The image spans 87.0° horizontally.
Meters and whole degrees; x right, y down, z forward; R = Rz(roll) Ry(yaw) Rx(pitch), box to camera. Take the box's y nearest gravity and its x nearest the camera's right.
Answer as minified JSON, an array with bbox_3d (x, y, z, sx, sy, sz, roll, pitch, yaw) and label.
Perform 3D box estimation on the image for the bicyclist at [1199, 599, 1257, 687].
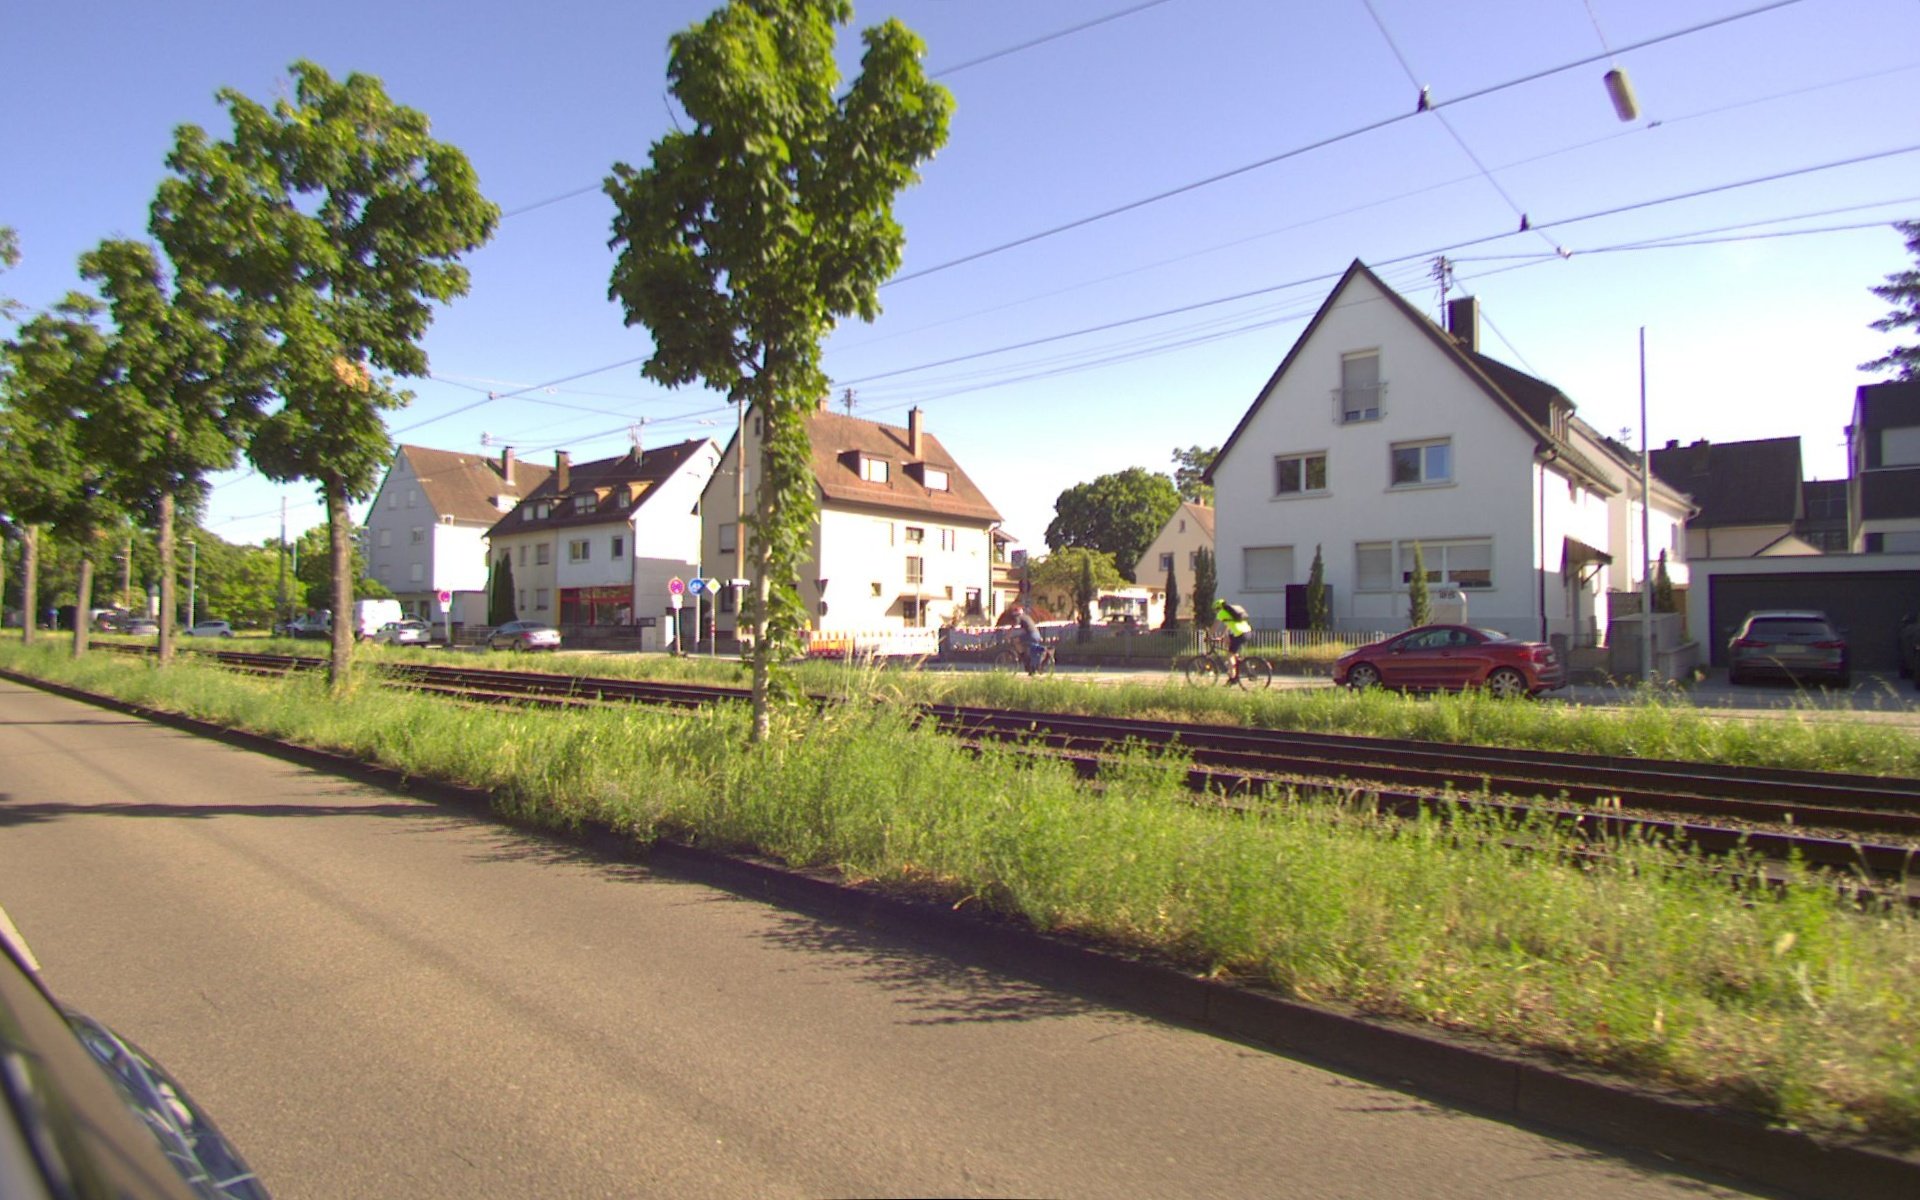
[{"bbox_3d":[5.222,0.829,19.746,0.881,1.665,0.681,-1,-2,41],"label":"bicyclist"}]

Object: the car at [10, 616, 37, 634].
[{"bbox_3d":[-136.530,3.624,147.519,6.795,2.600,2.202,-2,-1,41],"label":"car"}]

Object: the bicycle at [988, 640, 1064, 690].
[{"bbox_3d":[1.469,1.450,22.940,1.879,1.078,0.394,-1,-2,42],"label":"bicycle"}]

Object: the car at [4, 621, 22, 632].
[{"bbox_3d":[-145.770,4.022,155.702,4.282,1.575,1.748,-1,-1,43],"label":"car"}]

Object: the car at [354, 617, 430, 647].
[{"bbox_3d":[-38.581,2.156,68.819,1.992,1.967,4.108,-1,-1,30],"label":"car"}]

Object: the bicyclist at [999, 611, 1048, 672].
[{"bbox_3d":[1.428,0.924,22.910,0.881,1.347,0.681,-1,-2,41],"label":"bicyclist"}]

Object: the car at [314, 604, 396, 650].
[{"bbox_3d":[-34.284,1.466,57.245,6.671,2.478,1.973,-1,0,41],"label":"car"}]

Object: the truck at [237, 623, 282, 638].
[{"bbox_3d":[-97.707,4.235,141.175,2.069,1.883,4.907,-1,0,21],"label":"truck"}]

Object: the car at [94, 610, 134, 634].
[{"bbox_3d":[-87.422,2.285,104.555,6.462,2.394,2.160,-1,0,41],"label":"car"}]

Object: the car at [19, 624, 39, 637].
[{"bbox_3d":[-131.116,4.286,142.502,4.530,1.635,1.605,-1,0,41],"label":"car"}]

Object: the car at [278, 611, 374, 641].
[{"bbox_3d":[-57.224,2.328,91.466,2.326,2.526,7.003,-1,-1,36],"label":"car"}]

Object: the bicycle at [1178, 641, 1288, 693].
[{"bbox_3d":[5.256,1.275,19.605,2.095,0.935,0.394,-1,-2,42],"label":"bicycle"}]

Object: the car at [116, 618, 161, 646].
[{"bbox_3d":[-59.004,2.271,72.655,4.523,1.897,1.895,-1,0,42],"label":"car"}]

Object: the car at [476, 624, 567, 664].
[{"bbox_3d":[-19.216,1.888,44.247,4.496,1.593,1.972,-2,-1,42],"label":"car"}]

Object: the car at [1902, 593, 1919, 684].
[{"bbox_3d":[18.687,0.707,18.304,1.997,1.682,3.950,-1,0,37],"label":"car"}]

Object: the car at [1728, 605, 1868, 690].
[{"bbox_3d":[16.631,0.862,20.268,1.935,1.474,4.174,-1,0,37],"label":"car"}]

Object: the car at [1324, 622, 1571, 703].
[{"bbox_3d":[9.183,1.115,19.275,4.000,1.336,1.478,-1,0,43],"label":"car"}]

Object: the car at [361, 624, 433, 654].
[{"bbox_3d":[-29.752,2.031,53.425,4.655,1.423,1.806,-1,0,41],"label":"car"}]

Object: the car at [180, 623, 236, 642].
[{"bbox_3d":[-62.157,2.654,83.740,3.564,1.489,1.755,0,-1,-31],"label":"car"}]

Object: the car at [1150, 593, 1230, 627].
[{"bbox_3d":[14.018,0.617,61.805,4.334,2.029,1.972,-1,0,43],"label":"car"}]
